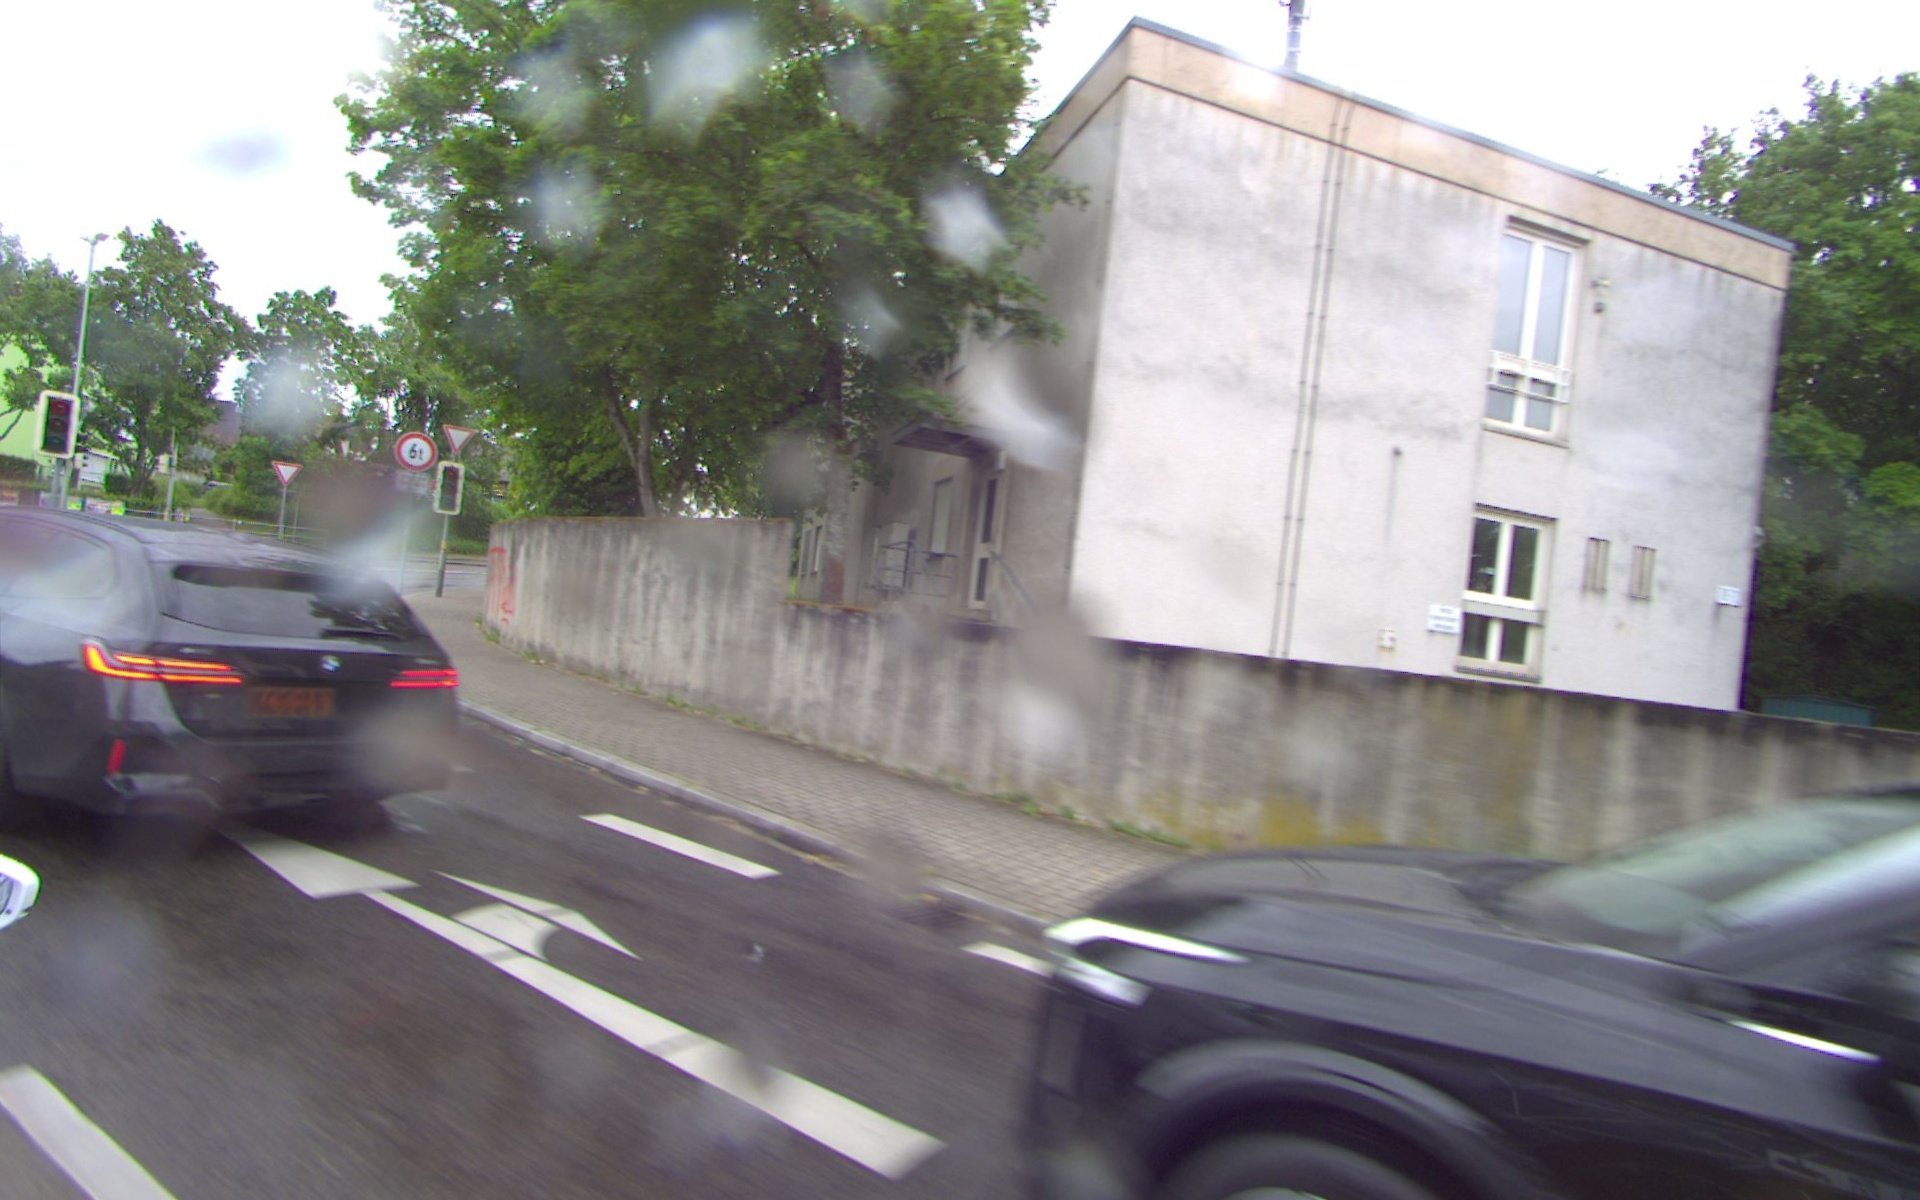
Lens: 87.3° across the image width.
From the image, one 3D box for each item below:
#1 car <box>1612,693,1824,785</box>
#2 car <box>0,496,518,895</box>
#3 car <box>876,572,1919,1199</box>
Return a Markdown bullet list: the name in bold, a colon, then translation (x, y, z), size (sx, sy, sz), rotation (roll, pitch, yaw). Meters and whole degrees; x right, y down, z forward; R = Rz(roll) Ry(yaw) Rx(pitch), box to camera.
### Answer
- **car**: translation (16.766, 3.038, 22.441), size (1.460, 1.393, 3.428), rotation (6, 0, -19)
- **car**: translation (-5.006, 0.233, 5.930), size (4.697, 1.476, 1.908), rotation (7, 0, 30)
- **car**: translation (2.102, 1.049, 1.893), size (4.184, 1.622, 1.793), rotation (7, -2, 33)
